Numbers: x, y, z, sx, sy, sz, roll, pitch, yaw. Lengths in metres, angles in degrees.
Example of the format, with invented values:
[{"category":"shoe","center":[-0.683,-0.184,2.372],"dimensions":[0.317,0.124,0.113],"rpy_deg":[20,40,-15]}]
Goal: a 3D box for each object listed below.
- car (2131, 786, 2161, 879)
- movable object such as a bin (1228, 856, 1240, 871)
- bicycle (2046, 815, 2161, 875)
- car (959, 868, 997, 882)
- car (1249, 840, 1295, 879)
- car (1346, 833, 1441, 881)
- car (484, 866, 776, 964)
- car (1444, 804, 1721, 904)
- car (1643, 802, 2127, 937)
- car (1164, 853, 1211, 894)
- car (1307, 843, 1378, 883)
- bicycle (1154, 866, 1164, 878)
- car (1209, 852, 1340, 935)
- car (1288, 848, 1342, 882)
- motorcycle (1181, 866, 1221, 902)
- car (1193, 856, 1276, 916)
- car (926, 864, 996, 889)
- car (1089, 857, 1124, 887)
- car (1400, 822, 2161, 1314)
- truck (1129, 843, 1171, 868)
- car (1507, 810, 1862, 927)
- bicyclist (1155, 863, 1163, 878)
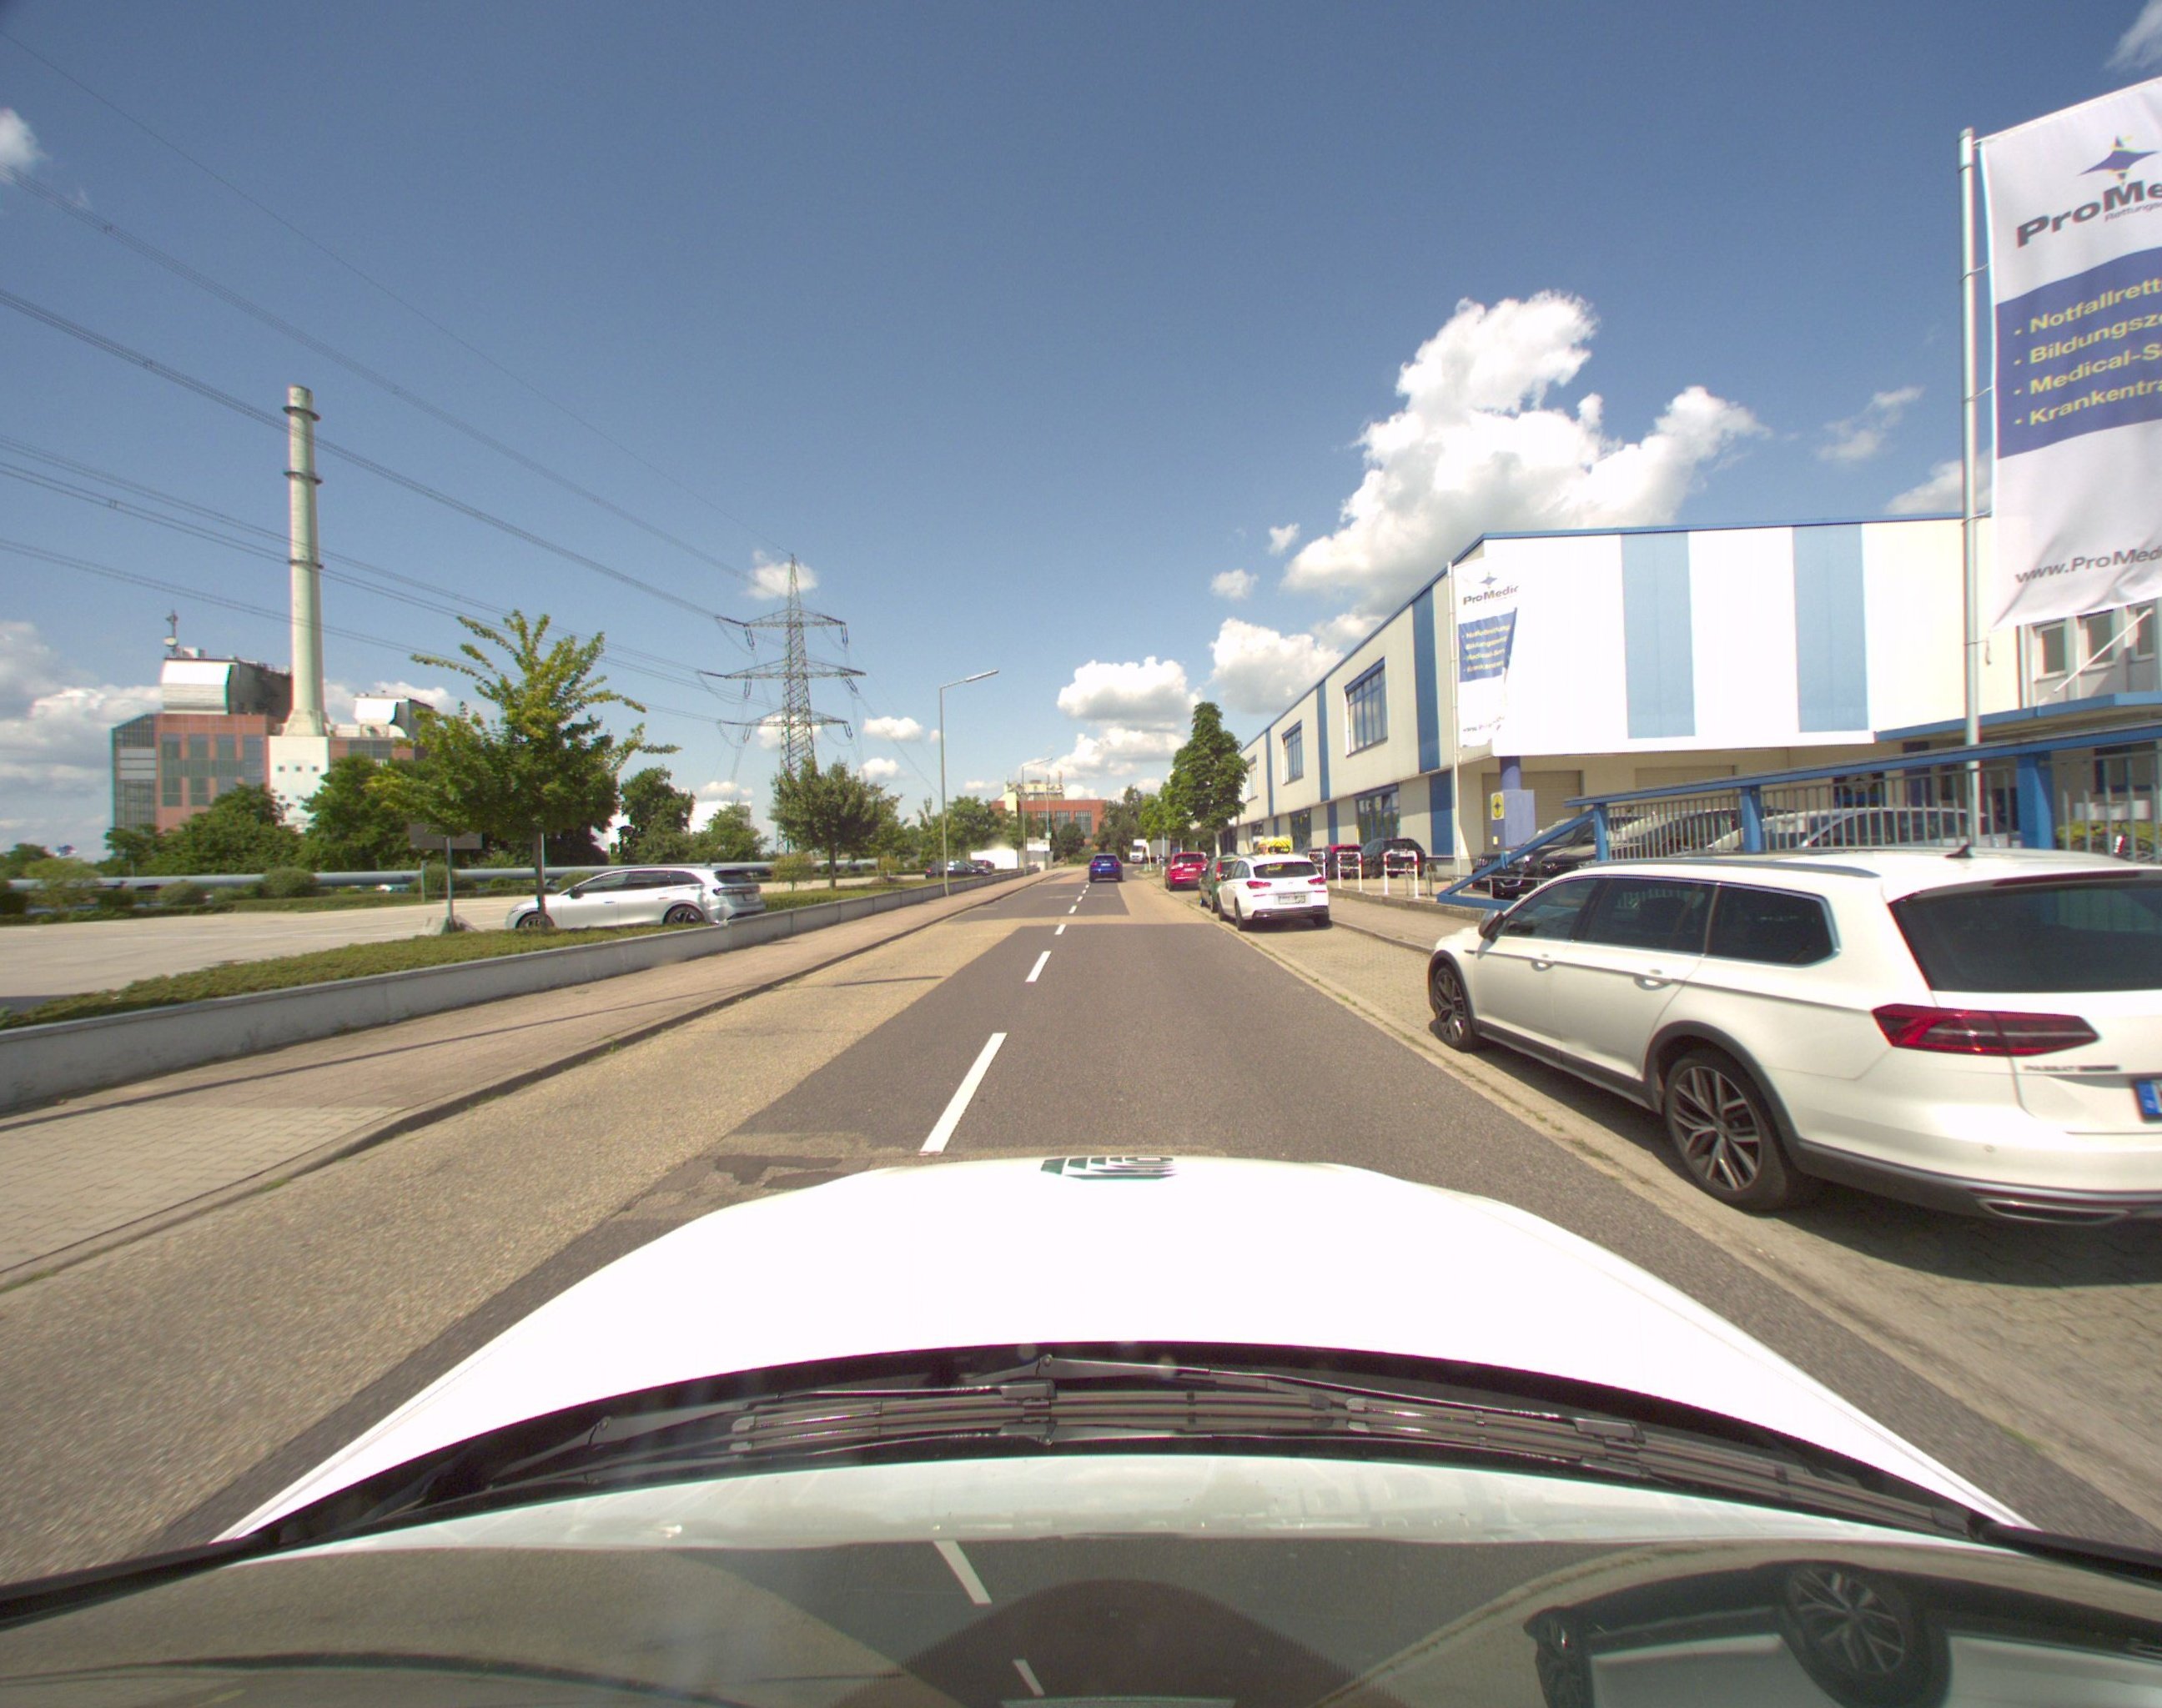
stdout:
[{"category":"car","center":[22.343,-0.477,14.822],"dimensions":[4.043,1.740,1.807],"rpy_deg":[-2,0,1]},{"category":"movable object such as a bin","center":[14.488,0.885,77.134],"dimensions":[0.801,1.413,1.358],"rpy_deg":[-1,-1,1]},{"category":"bicycle","center":[22.308,-0.206,17.538],"dimensions":[2.216,1.212,0.641],"rpy_deg":[-2,-1,0]},{"category":"car","center":[-11.217,2.284,88.810],"dimensions":[3.948,1.378,1.815],"rpy_deg":[-2,-1,36]},{"category":"car","center":[12.471,0.378,53.601],"dimensions":[1.916,2.464,5.261],"rpy_deg":[-1,-1,2]},{"category":"car","center":[11.377,0.187,30.015],"dimensions":[1.820,1.513,4.642],"rpy_deg":[-2,-3,2]},{"category":"car","center":[-9.037,1.185,16.671],"dimensions":[4.742,1.602,1.998],"rpy_deg":[-3,-1,-2]},{"category":"car","center":[9.489,0.009,15.682],"dimensions":[4.071,1.686,2.000],"rpy_deg":[-2,-1,0]},{"category":"car","center":[10.180,0.192,10.633],"dimensions":[4.263,1.420,2.001],"rpy_deg":[-2,0,2]},{"category":"car","center":[4.671,0.836,36.323],"dimensions":[1.747,1.651,4.682],"rpy_deg":[-1,-1,4]},{"category":"car","center":[11.884,0.459,37.316],"dimensions":[1.986,1.657,4.291],"rpy_deg":[-2,-2,2]},{"category":"bicycle","center":[7.611,1.793,79.389],"dimensions":[0.662,1.109,2.175],"rpy_deg":[-2,-1,13]},{"category":"car","center":[3.979,0.769,17.507],"dimensions":[1.828,1.520,4.462],"rpy_deg":[-1,-1,1]},{"category":"car","center":[12.203,0.585,42.652],"dimensions":[1.708,1.652,4.216],"rpy_deg":[-2,-1,2]},{"category":"motorcycle","center":[4.349,1.062,29.363],"dimensions":[0.848,1.200,2.376],"rpy_deg":[-2,0,22]},{"category":"car","center":[4.219,0.841,22.942],"dimensions":[1.662,1.520,3.996],"rpy_deg":[-1,-1,2]},{"category":"car","center":[-7.426,1.405,50.513],"dimensions":[3.972,1.376,1.804],"rpy_deg":[-2,0,1]},{"category":"car","center":[1.487,1.038,47.843],"dimensions":[1.902,1.593,4.702],"rpy_deg":[-1,-1,1]},{"category":"car","center":[3.695,0.685,4.844],"dimensions":[1.861,1.520,4.599],"rpy_deg":[-1,-1,1]},{"category":"truck","center":[10.464,0.228,122.422],"dimensions":[2.298,3.567,9.427],"rpy_deg":[0,1,32]},{"category":"car","center":[9.680,0.220,13.374],"dimensions":[4.212,1.647,2.147],"rpy_deg":[-2,-1,0]},{"category":"bicyclist","center":[7.612,1.579,79.431],"dimensions":[0.658,1.397,0.861],"rpy_deg":[-2,-1,13]}]
